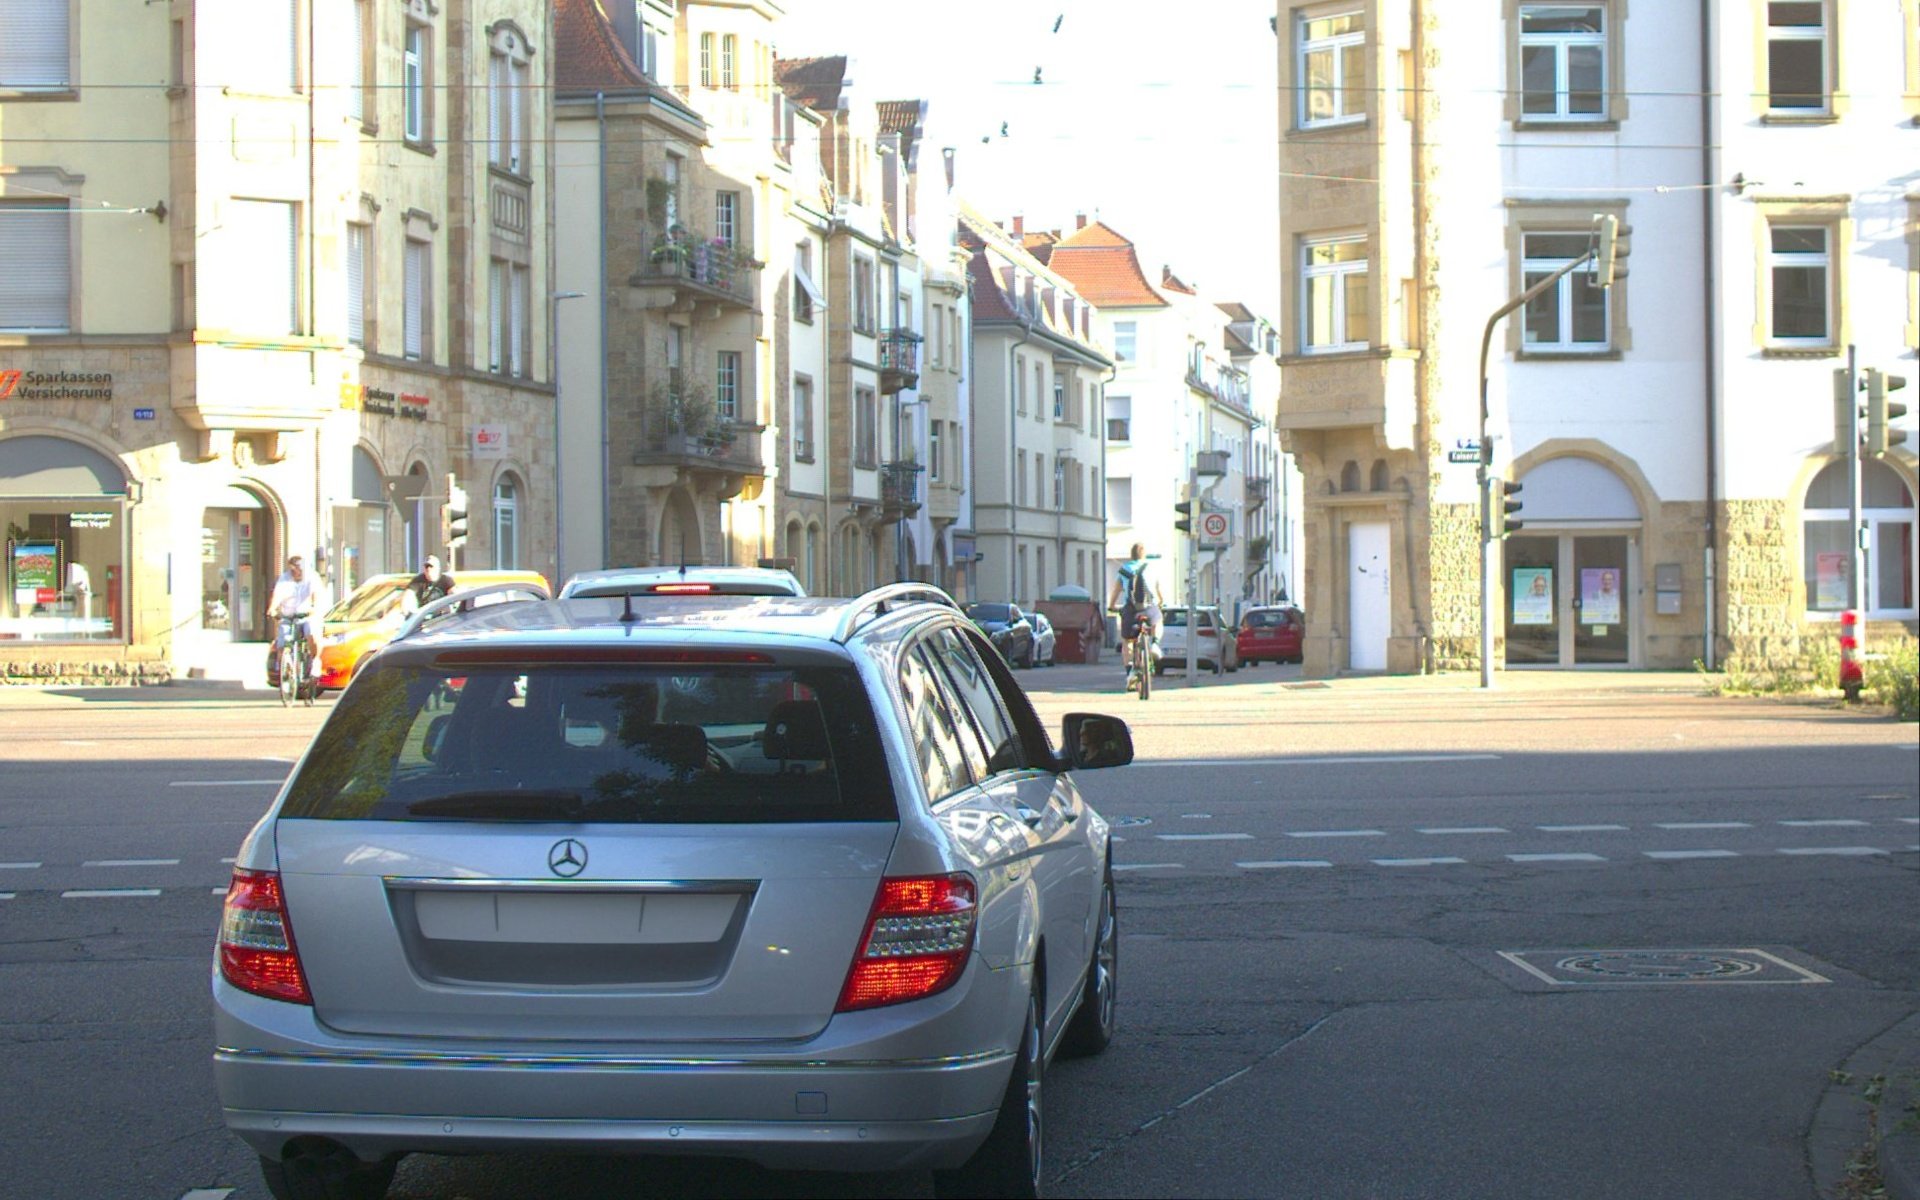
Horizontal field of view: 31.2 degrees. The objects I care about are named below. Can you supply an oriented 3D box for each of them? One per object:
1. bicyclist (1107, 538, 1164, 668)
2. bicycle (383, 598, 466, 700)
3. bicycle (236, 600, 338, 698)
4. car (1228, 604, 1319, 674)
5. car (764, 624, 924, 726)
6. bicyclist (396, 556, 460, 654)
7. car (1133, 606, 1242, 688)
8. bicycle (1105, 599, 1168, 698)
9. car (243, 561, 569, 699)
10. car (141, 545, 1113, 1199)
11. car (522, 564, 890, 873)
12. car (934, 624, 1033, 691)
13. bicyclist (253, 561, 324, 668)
[{"bbox_3d":[2.027,0.033,39.770,0.610,1.489,0.767,1,0,1],"label":"bicyclist"},{"bbox_3d":[-6.317,0.565,40.639,0.650,1.101,1.924,1,2,1],"label":"bicycle"},{"bbox_3d":[-7.875,0.555,40.316,0.650,1.101,2.552,1,0,1],"label":"bicycle"},{"bbox_3d":[7.924,0.958,86.686,1.831,1.700,3.998,1,0,12],"label":"car"},{"bbox_3d":[-2.006,1.290,60.661,1.831,1.700,3.998,1,0,13],"label":"car"},{"bbox_3d":[-6.303,0.058,40.758,0.610,1.154,0.767,1,0,1],"label":"bicyclist"},{"bbox_3d":[4.712,0.942,70.837,1.830,1.610,3.998,1,0,10],"label":"car"},{"bbox_3d":[2.029,0.542,39.750,0.619,1.101,2.552,1,0,1],"label":"bicycle"},{"bbox_3d":[-7.869,0.413,49.094,1.919,1.893,4.298,1,0,43],"label":"car"},{"bbox_3d":[-0.566,0.635,8.759,1.732,1.472,4.171,1,0,5],"label":"car"},{"bbox_3d":[-1.264,0.571,18.493,1.732,1.475,3.814,1,0,-1],"label":"car"},{"bbox_3d":[0.626,1.438,87.480,1.831,1.610,3.998,1,0,10],"label":"car"},{"bbox_3d":[-7.865,0.170,40.304,0.658,1.232,0.767,1,0,1],"label":"bicyclist"}]
